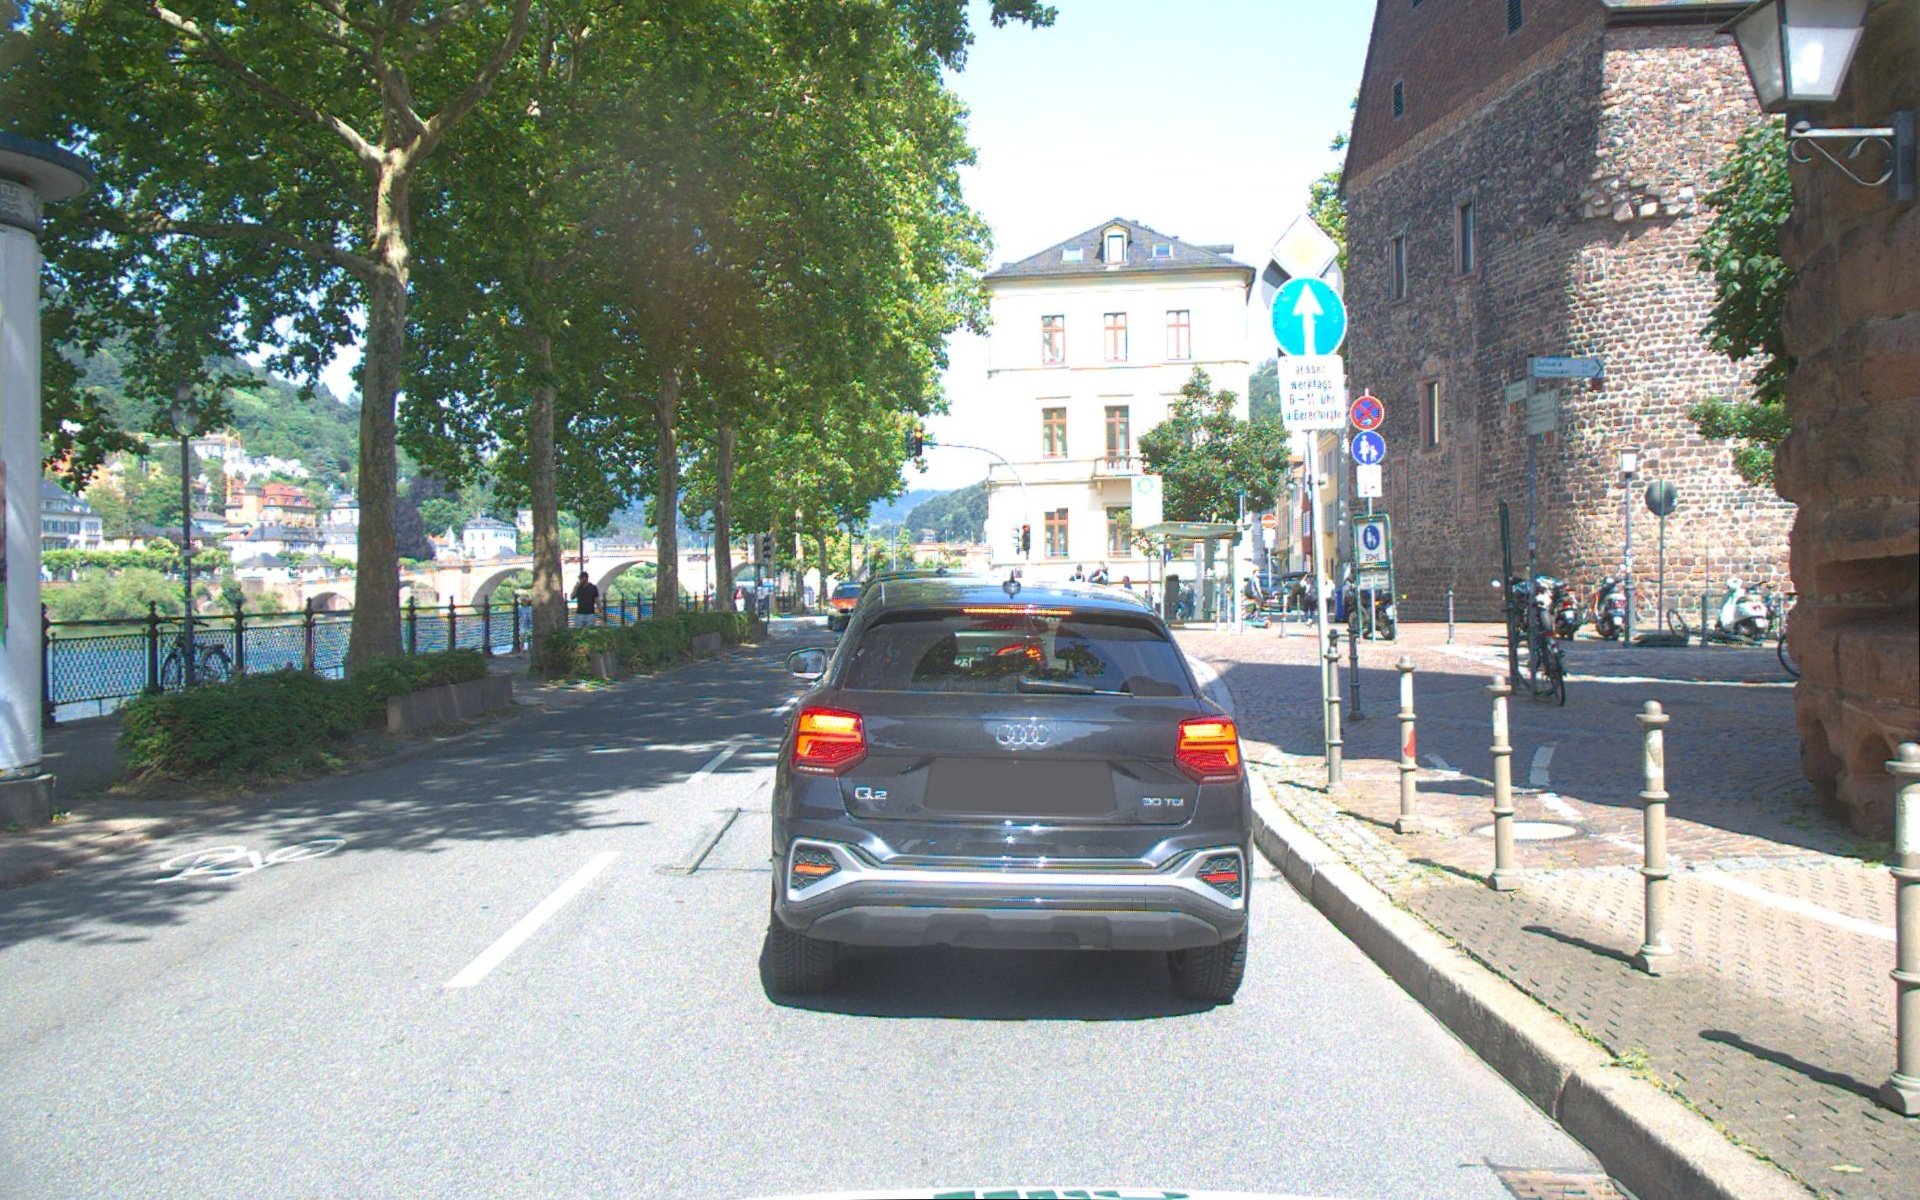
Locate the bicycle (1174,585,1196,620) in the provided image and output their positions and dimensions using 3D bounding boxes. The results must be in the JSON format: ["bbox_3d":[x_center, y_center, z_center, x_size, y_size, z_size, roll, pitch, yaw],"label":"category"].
[{"bbox_3d":[6.580,0.067,48.431,0.441,0.992,1.399,1,0,0],"label":"bicycle"}]

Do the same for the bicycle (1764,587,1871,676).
[{"bbox_3d":[10.688,0.368,20.690,0.485,1.048,2.052,1,0,7],"label":"bicycle"}]

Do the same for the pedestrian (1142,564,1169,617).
[{"bbox_3d":[5.913,-0.277,50.060,0.731,1.585,0.588,1,0,0],"label":"pedestrian"}]

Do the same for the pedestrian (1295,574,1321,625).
[{"bbox_3d":[10.502,-0.018,49.873,0.644,1.519,0.548,1,0,1],"label":"pedestrian"}]

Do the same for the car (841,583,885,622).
[{"bbox_3d":[-4.113,0.080,70.437,1.581,1.549,3.477,-2,1,1],"label":"car"}]

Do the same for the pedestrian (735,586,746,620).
[{"bbox_3d":[-9.505,0.127,71.712,0.401,1.450,0.457,1,0,-3],"label":"pedestrian"}]

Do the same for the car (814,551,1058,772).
[{"bbox_3d":[-0.187,0.445,14.012,1.764,1.590,3.715,1,0,-1],"label":"car"}]

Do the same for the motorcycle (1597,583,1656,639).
[{"bbox_3d":[12.184,0.201,30.262,0.449,0.990,1.466,1,0,-1],"label":"motorcycle"}]

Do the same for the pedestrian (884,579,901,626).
[{"bbox_3d":[-2.293,0.070,56.443,0.545,1.585,0.660,1,0,0],"label":"pedestrian"}]

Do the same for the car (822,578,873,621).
[{"bbox_3d":[-4.249,-0.042,62.936,1.581,1.549,3.477,-2,1,1],"label":"car"}]

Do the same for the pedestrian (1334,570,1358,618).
[{"bbox_3d":[12.532,-0.207,53.709,0.644,1.544,0.627,1,0,1],"label":"pedestrian"}]

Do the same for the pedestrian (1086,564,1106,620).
[{"bbox_3d":[4.071,-0.240,49.486,0.545,1.661,0.660,1,0,0],"label":"pedestrian"}]

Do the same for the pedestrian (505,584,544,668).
[{"bbox_3d":[-9.142,0.535,34.715,0.632,1.747,0.665,1,0,-4],"label":"pedestrian"}]

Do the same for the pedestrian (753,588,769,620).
[{"bbox_3d":[-8.342,0.158,69.292,0.579,1.301,0.525,1,0,-1],"label":"pedestrian"}]

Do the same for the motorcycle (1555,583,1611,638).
[{"bbox_3d":[11.406,0.185,30.313,0.449,0.990,1.466,1,0,-1],"label":"motorcycle"}]

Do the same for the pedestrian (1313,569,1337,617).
[{"bbox_3d":[11.841,-0.221,53.626,0.644,1.544,0.548,1,0,1],"label":"pedestrian"}]

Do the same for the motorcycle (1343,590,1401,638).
[{"bbox_3d":[7.671,0.245,30.905,0.474,0.832,2.279,-2,1,0],"label":"motorcycle"}]

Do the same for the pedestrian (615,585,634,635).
[{"bbox_3d":[-10.467,0.306,51.624,0.488,1.564,0.678,1,0,-8],"label":"pedestrian"}]

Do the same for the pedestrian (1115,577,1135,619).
[{"bbox_3d":[4.873,-0.067,48.839,0.535,1.222,0.522,1,0,0],"label":"pedestrian"}]

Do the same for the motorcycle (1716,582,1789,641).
[{"bbox_3d":[14.312,0.200,29.914,0.488,1.037,1.701,1,0,-1],"label":"motorcycle"}]

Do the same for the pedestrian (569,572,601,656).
[{"bbox_3d":[-8.045,0.299,35.515,0.552,1.772,0.665,0,0,-4],"label":"pedestrian"}]

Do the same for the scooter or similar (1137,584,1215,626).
[{"bbox_3d":[5.267,0.119,40.357,1.808,0.980,0.429,1,0,-2],"label":"scooter or similar"}]

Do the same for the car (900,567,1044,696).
[{"bbox_3d":[0.134,0.380,22.694,1.764,1.549,3.715,-2,1,-1],"label":"car"}]

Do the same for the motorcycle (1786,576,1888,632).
[{"bbox_3d":[17.016,0.076,32.124,1.659,1.037,0.500,1,0,12],"label":"motorcycle"}]

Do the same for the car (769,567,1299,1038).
[{"bbox_3d":[0.187,0.647,7.205,1.713,1.520,3.628,1,1,-2],"label":"car"}]

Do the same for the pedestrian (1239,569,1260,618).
[{"bbox_3d":[9.960,-0.213,56.919,0.535,1.663,0.660,1,0,-3],"label":"pedestrian"}]

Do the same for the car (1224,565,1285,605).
[{"bbox_3d":[13.057,-0.667,73.605,1.953,1.746,4.000,0,0,-1],"label":"car"}]

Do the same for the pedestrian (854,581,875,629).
[{"bbox_3d":[-3.261,0.175,56.563,0.534,1.628,0.660,1,0,10],"label":"pedestrian"}]

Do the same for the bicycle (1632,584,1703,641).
[{"bbox_3d":[12.920,0.211,30.249,0.395,1.007,1.825,1,0,-4],"label":"bicycle"}]

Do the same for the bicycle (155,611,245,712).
[{"bbox_3d":[-9.570,0.751,20.885,0.350,1.182,1.825,-2,0,-3],"label":"bicycle"}]

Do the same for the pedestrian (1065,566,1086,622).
[{"bbox_3d":[3.319,-0.170,47.439,0.545,1.585,0.660,1,0,0],"label":"pedestrian"}]

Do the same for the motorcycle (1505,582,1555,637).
[{"bbox_3d":[10.546,0.166,30.630,0.427,0.990,1.359,1,0,-1],"label":"motorcycle"}]

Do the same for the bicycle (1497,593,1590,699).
[{"bbox_3d":[6.120,0.456,17.428,0.485,1.048,2.052,0,0,7],"label":"bicycle"}]
